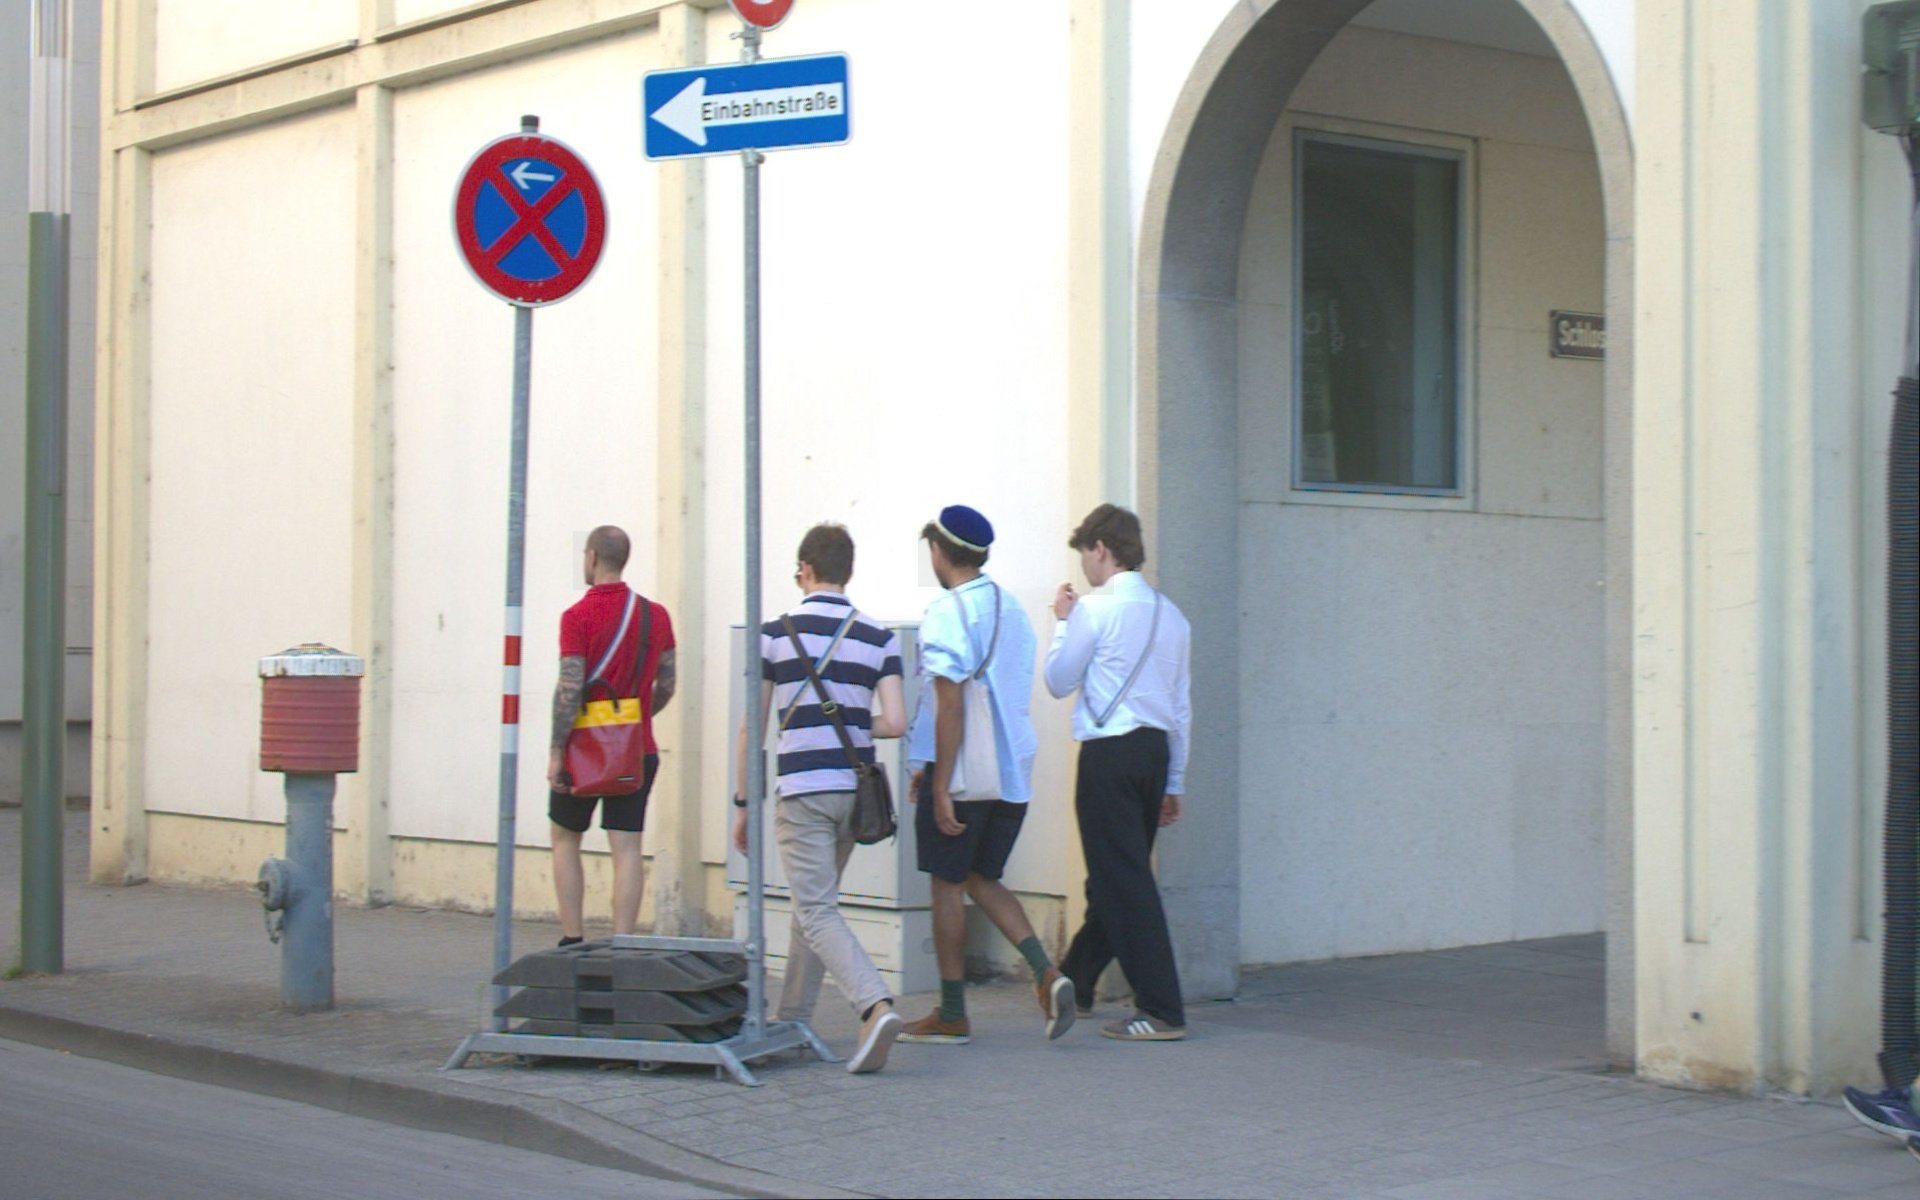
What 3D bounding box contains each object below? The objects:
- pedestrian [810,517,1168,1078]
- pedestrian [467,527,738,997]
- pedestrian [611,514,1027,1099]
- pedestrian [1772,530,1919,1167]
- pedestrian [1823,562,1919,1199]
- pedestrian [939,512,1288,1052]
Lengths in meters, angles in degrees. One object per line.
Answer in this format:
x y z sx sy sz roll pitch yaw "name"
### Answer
0.091 0.629 11.556 0.709 1.771 0.941 -3 1 -38 "pedestrian"
-1.436 0.623 13.786 0.709 1.795 0.775 -3 1 -38 "pedestrian"
-0.482 0.640 11.377 0.714 1.795 1.247 -3 1 -38 "pedestrian"
2.854 0.665 9.442 0.673 1.704 0.967 -3 2 -38 "pedestrian"
2.714 0.714 8.781 0.618 1.618 0.727 -3 2 -38 "pedestrian"
0.529 0.600 11.964 0.709 1.771 0.941 -3 1 -38 "pedestrian"
